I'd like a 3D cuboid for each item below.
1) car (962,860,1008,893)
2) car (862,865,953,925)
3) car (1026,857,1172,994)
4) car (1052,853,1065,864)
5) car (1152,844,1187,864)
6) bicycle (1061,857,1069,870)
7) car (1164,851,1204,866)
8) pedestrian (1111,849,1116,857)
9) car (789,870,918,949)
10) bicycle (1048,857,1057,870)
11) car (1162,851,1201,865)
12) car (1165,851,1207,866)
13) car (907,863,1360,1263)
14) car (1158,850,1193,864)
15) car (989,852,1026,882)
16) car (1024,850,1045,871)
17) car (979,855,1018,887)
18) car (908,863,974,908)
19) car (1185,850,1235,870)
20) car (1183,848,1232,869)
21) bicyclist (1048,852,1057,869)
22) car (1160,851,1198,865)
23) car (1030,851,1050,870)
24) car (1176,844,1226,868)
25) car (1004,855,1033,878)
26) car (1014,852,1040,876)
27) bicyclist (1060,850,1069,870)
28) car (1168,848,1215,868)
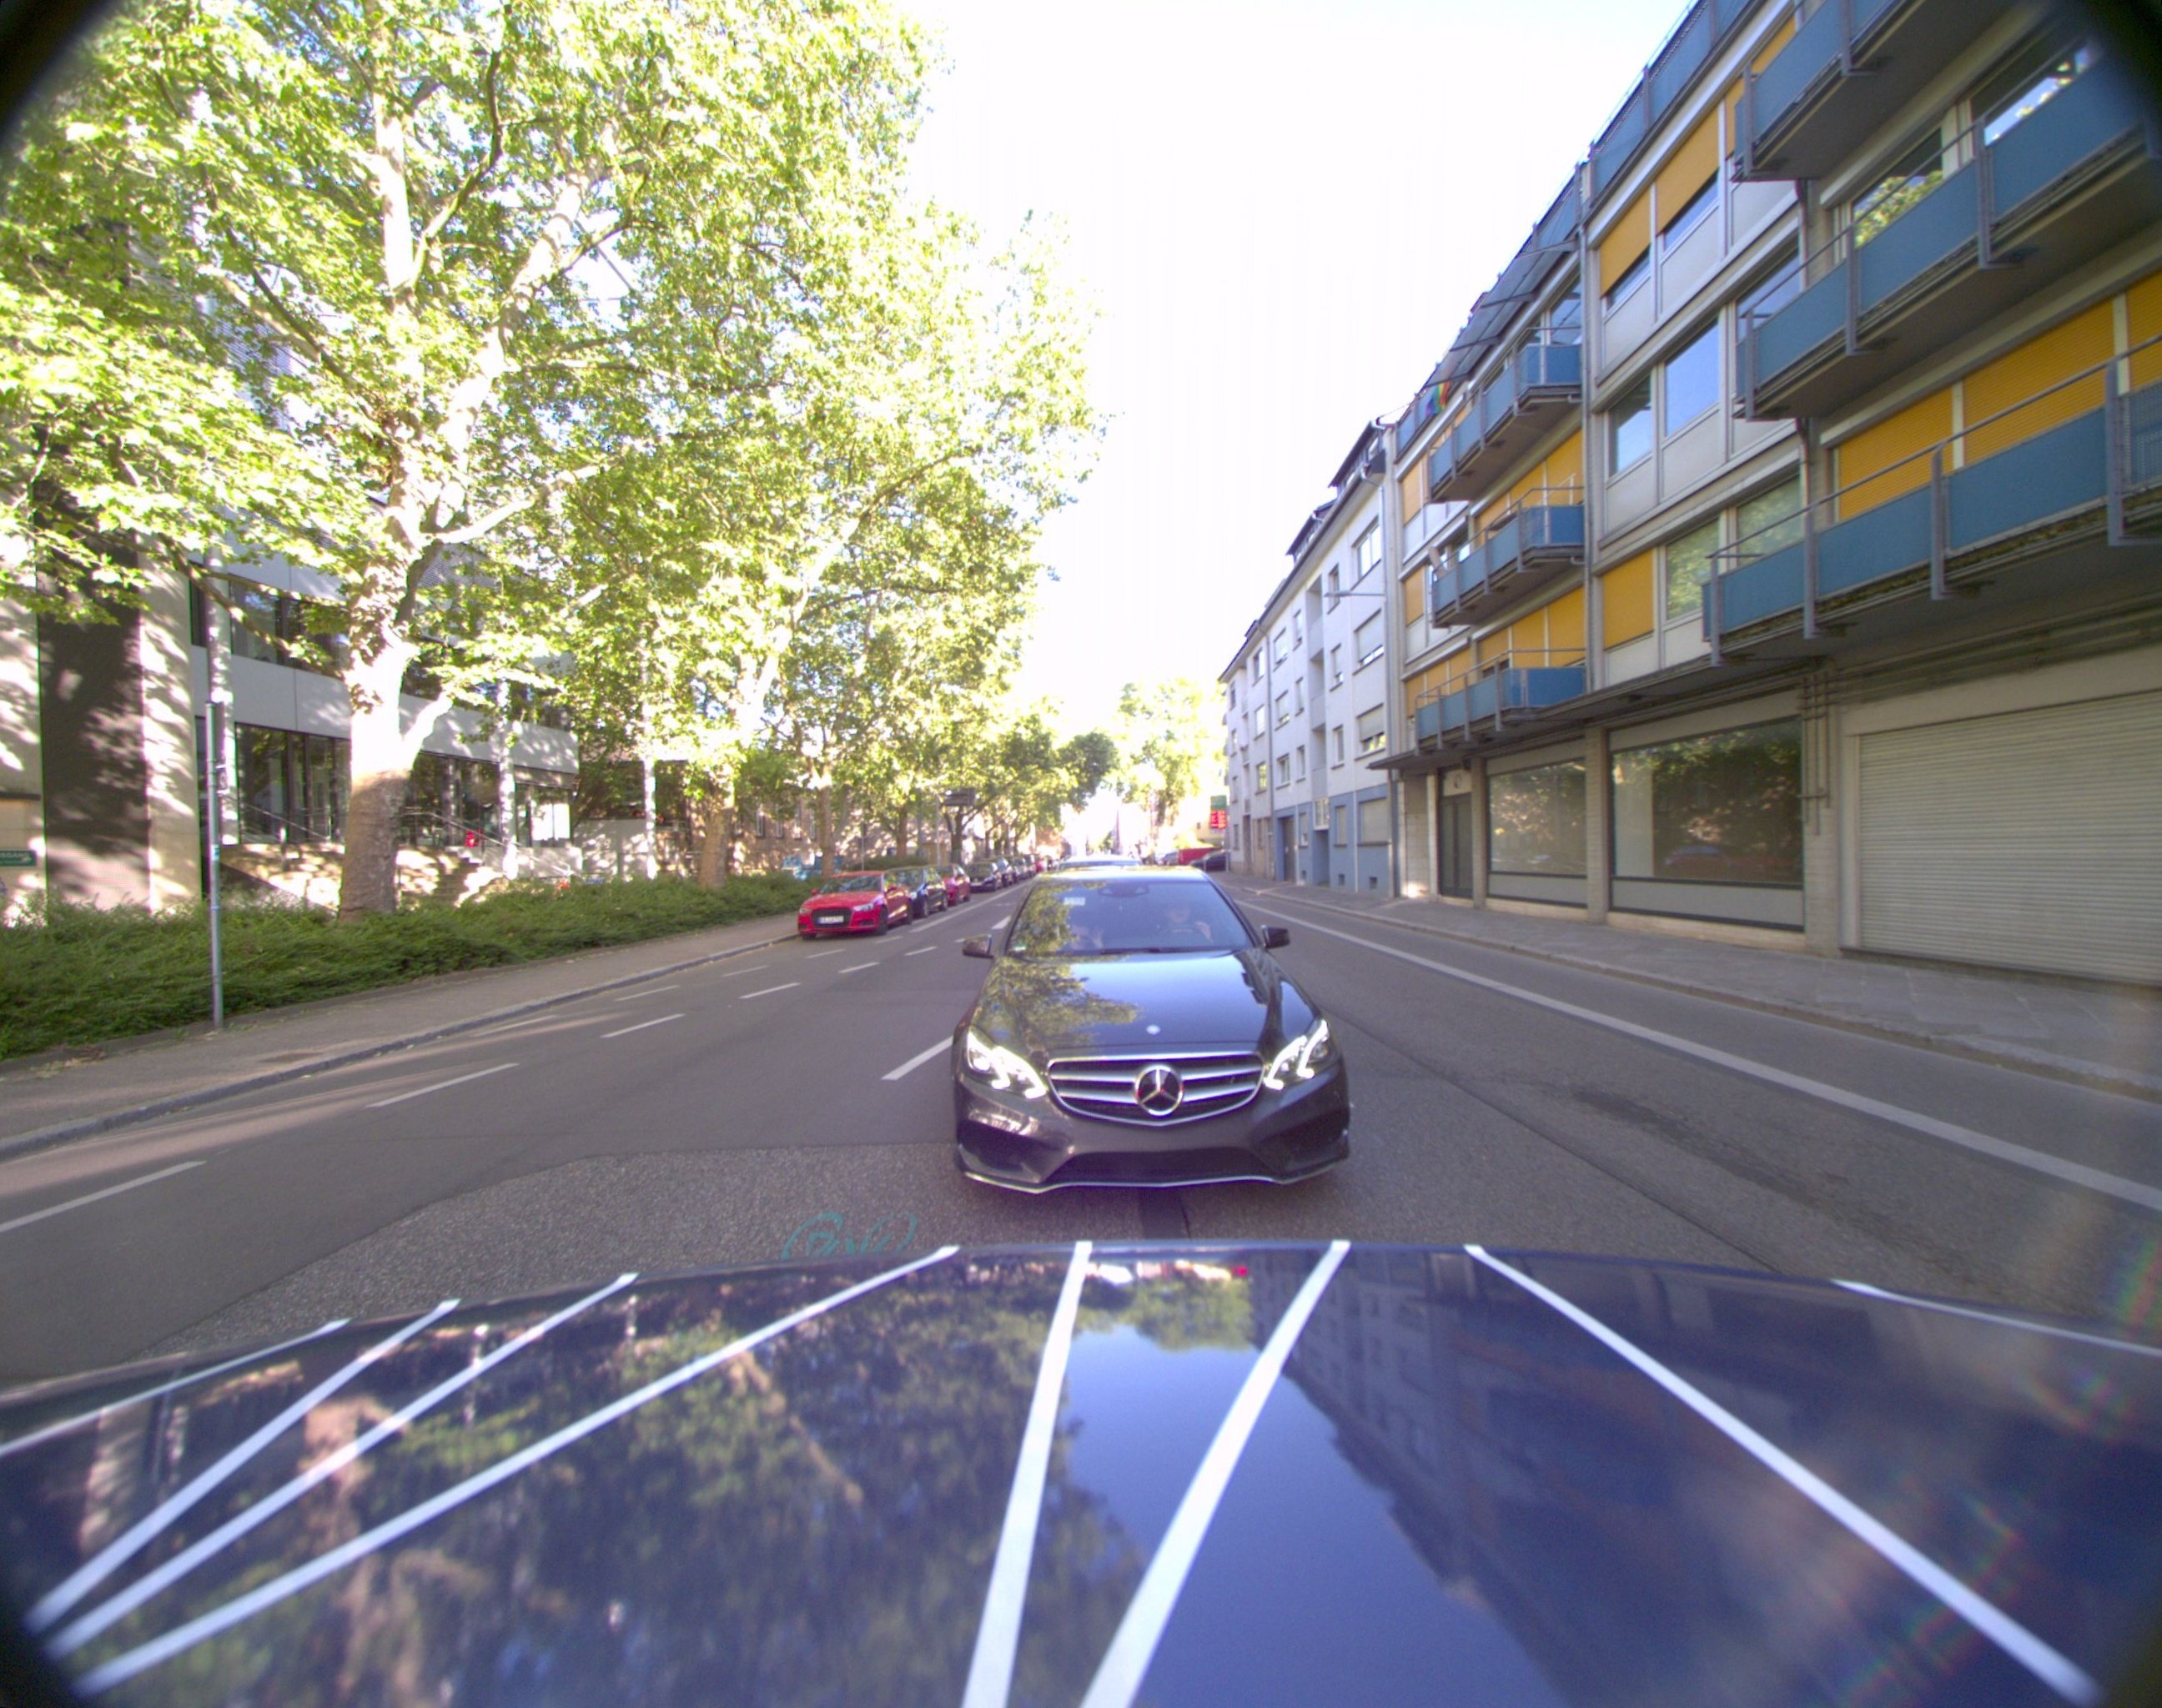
[{"bbox_3d":[-4.664,1.047,37.419,1.686,1.443,4.000,-2,0,0],"label":"car"},{"bbox_3d":[-5.010,1.129,22.434,1.686,1.458,4.000,-3,0,0],"label":"car"},{"bbox_3d":[0.208,0.883,11.435,1.732,1.538,4.293,-2,1,0],"label":"car"},{"bbox_3d":[-3.127,0.647,106.843,1.686,1.475,3.836,-2,0,0],"label":"car"},{"bbox_3d":[10.402,0.021,89.324,3.905,2.164,1.725,-2,1,2],"label":"car"},{"bbox_3d":[-1.436,0.870,68.169,0.667,1.093,1.814,-2,1,0],"label":"bicycle"},{"bbox_3d":[10.406,0.425,77.003,3.905,1.366,1.594,-2,1,2],"label":"car"},{"bbox_3d":[8.525,-0.269,197.455,0.882,2.108,0.822,-1,1,32],"label":"pedestrian"},{"bbox_3d":[-5.129,1.190,17.675,1.724,1.412,4.030,-4,0,-1],"label":"car"},{"bbox_3d":[-2.567,0.880,68.982,0.667,1.093,1.814,-2,1,0],"label":"bicycle"},{"bbox_3d":[10.522,0.425,79.757,3.905,1.325,1.525,-2,1,2],"label":"car"},{"bbox_3d":[10.374,0.449,74.981,3.905,1.366,1.594,-2,1,2],"label":"car"},{"bbox_3d":[0.215,0.896,5.298,1.828,1.495,4.293,-2,1,0],"label":"car"},{"bbox_3d":[10.542,0.330,84.831,3.782,1.432,1.539,-2,1,2],"label":"car"},{"bbox_3d":[-4.592,0.771,48.204,1.819,1.758,4.431,-2,0,0],"label":"car"},{"bbox_3d":[-4.250,0.588,70.241,1.646,1.839,3.836,-2,0,0],"label":"car"},{"bbox_3d":[-4.535,0.907,42.078,1.686,1.610,3.836,-2,0,0],"label":"car"},{"bbox_3d":[-5.007,1.094,27.619,1.666,1.426,3.781,-2,0,0],"label":"car"},{"bbox_3d":[9.961,0.455,58.745,3.598,1.401,1.534,-2,0,2],"label":"car"},{"bbox_3d":[10.130,0.355,61.150,3.668,1.501,1.602,-2,1,2],"label":"car"},{"bbox_3d":[-2.594,0.568,68.903,0.756,1.512,0.768,-2,1,-1],"label":"bicyclist"},{"bbox_3d":[10.531,0.398,82.146,3.905,1.325,1.525,-2,1,2],"label":"car"},{"bbox_3d":[-4.096,0.634,76.032,1.686,1.749,3.836,-2,0,0],"label":"car"},{"bbox_3d":[10.076,0.163,63.995,3.905,1.895,1.749,-2,1,2],"label":"car"},{"bbox_3d":[-4.424,0.874,54.528,1.686,1.552,3.868,-2,0,0],"label":"car"},{"bbox_3d":[-4.215,0.752,59.384,1.663,1.704,3.836,-2,0,0],"label":"car"},{"bbox_3d":[-1.462,0.535,68.108,0.756,1.714,0.768,-2,1,-1],"label":"bicyclist"},{"bbox_3d":[9.717,0.328,66.790,3.905,1.577,1.603,-2,1,2],"label":"car"}]
